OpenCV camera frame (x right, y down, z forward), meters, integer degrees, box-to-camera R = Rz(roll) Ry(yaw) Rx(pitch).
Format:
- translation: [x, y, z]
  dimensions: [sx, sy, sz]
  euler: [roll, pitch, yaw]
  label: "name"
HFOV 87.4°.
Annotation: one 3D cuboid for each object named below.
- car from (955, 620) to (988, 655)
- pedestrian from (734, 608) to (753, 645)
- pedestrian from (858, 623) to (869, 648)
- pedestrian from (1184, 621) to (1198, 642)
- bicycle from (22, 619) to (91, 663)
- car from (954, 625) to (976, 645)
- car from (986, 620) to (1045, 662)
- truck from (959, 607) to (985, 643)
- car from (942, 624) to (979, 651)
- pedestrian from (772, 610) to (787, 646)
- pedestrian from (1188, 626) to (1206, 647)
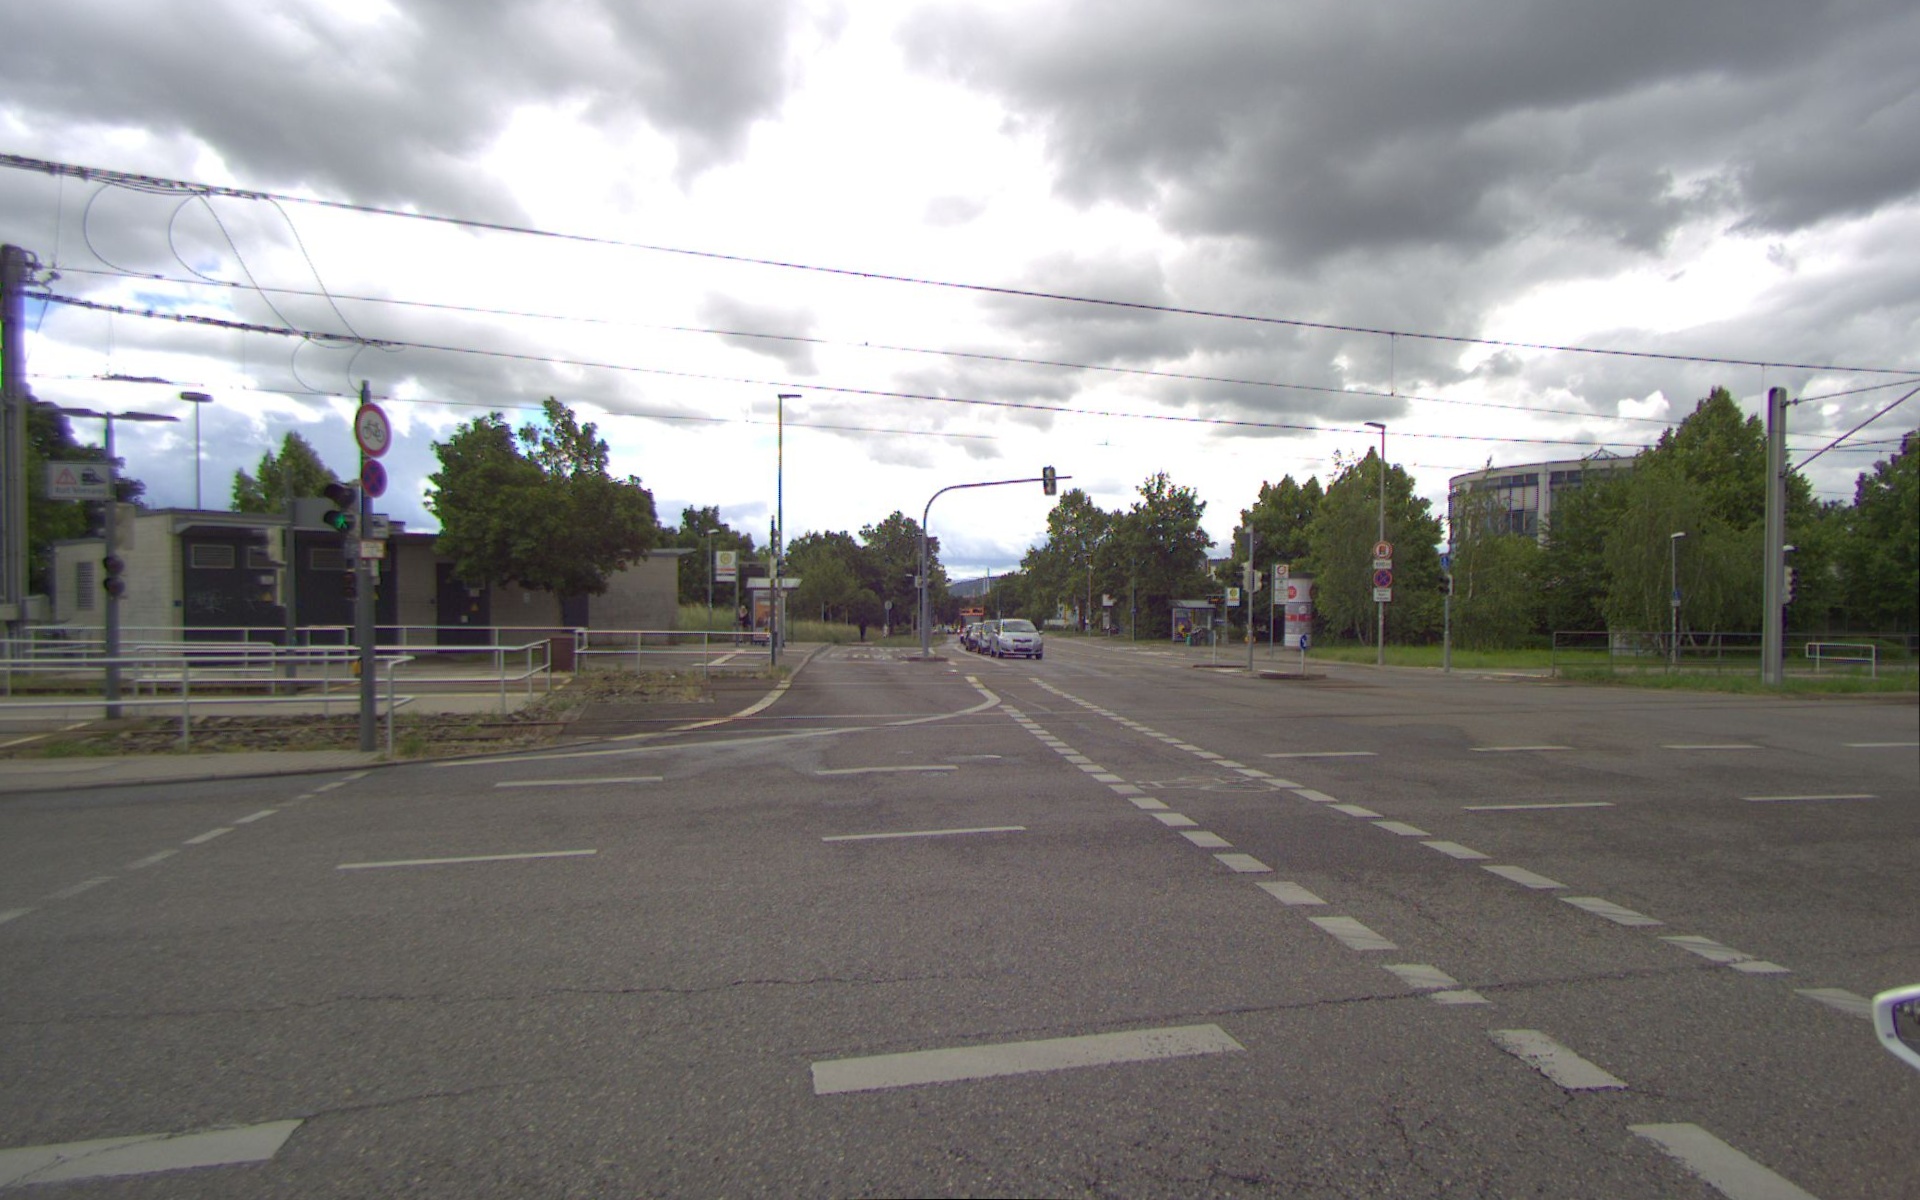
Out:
- translation: [0.503, 1.716, 46.291]
  dimensions: [1.405, 1.547, 2.774]
  euler: [0, -1, -2]
  label: "car"
- translation: [-9.905, 1.196, 45.904]
  dimensions: [0.540, 1.692, 0.638]
  euler: [0, -1, 27]
  label: "pedestrian"
- translation: [-7.494, 2.751, 78.000]
  dimensions: [0.709, 1.860, 0.678]
  euler: [-1, -1, 0]
  label: "pedestrian"
- translation: [14.427, 1.958, 62.737]
  dimensions: [0.716, 1.333, 0.589]
  euler: [0, -1, 2]
  label: "pedestrian"
- translation: [-24.037, 1.072, 26.704]
  dimensions: [2.215, 1.120, 0.677]
  euler: [0, -1, 29]
  label: "bicycle"
- translation: [0.365, 2.833, 81.739]
  dimensions: [1.702, 1.606, 4.224]
  euler: [0, -1, 0]
  label: "car"
- translation: [2.114, 1.569, 39.582]
  dimensions: [1.798, 1.556, 4.218]
  euler: [0, -1, -4]
  label: "car"
- translation: [1.250, 2.617, 105.740]
  dimensions: [2.661, 3.533, 9.996]
  euler: [0, -1, 0]
  label: "truck"
- translation: [-0.031, 1.902, 51.986]
  dimensions: [1.770, 1.350, 4.380]
  euler: [0, -1, -2]
  label: "car"
- translation: [-7.010, 1.099, 38.951]
  dimensions: [0.540, 1.381, 0.773]
  euler: [0, -1, -8]
  label: "pedestrian"
- translation: [14.477, 2.220, 61.315]
  dimensions: [0.770, 1.269, 0.763]
  euler: [1, -1, -42]
  label: "pedestrian"
